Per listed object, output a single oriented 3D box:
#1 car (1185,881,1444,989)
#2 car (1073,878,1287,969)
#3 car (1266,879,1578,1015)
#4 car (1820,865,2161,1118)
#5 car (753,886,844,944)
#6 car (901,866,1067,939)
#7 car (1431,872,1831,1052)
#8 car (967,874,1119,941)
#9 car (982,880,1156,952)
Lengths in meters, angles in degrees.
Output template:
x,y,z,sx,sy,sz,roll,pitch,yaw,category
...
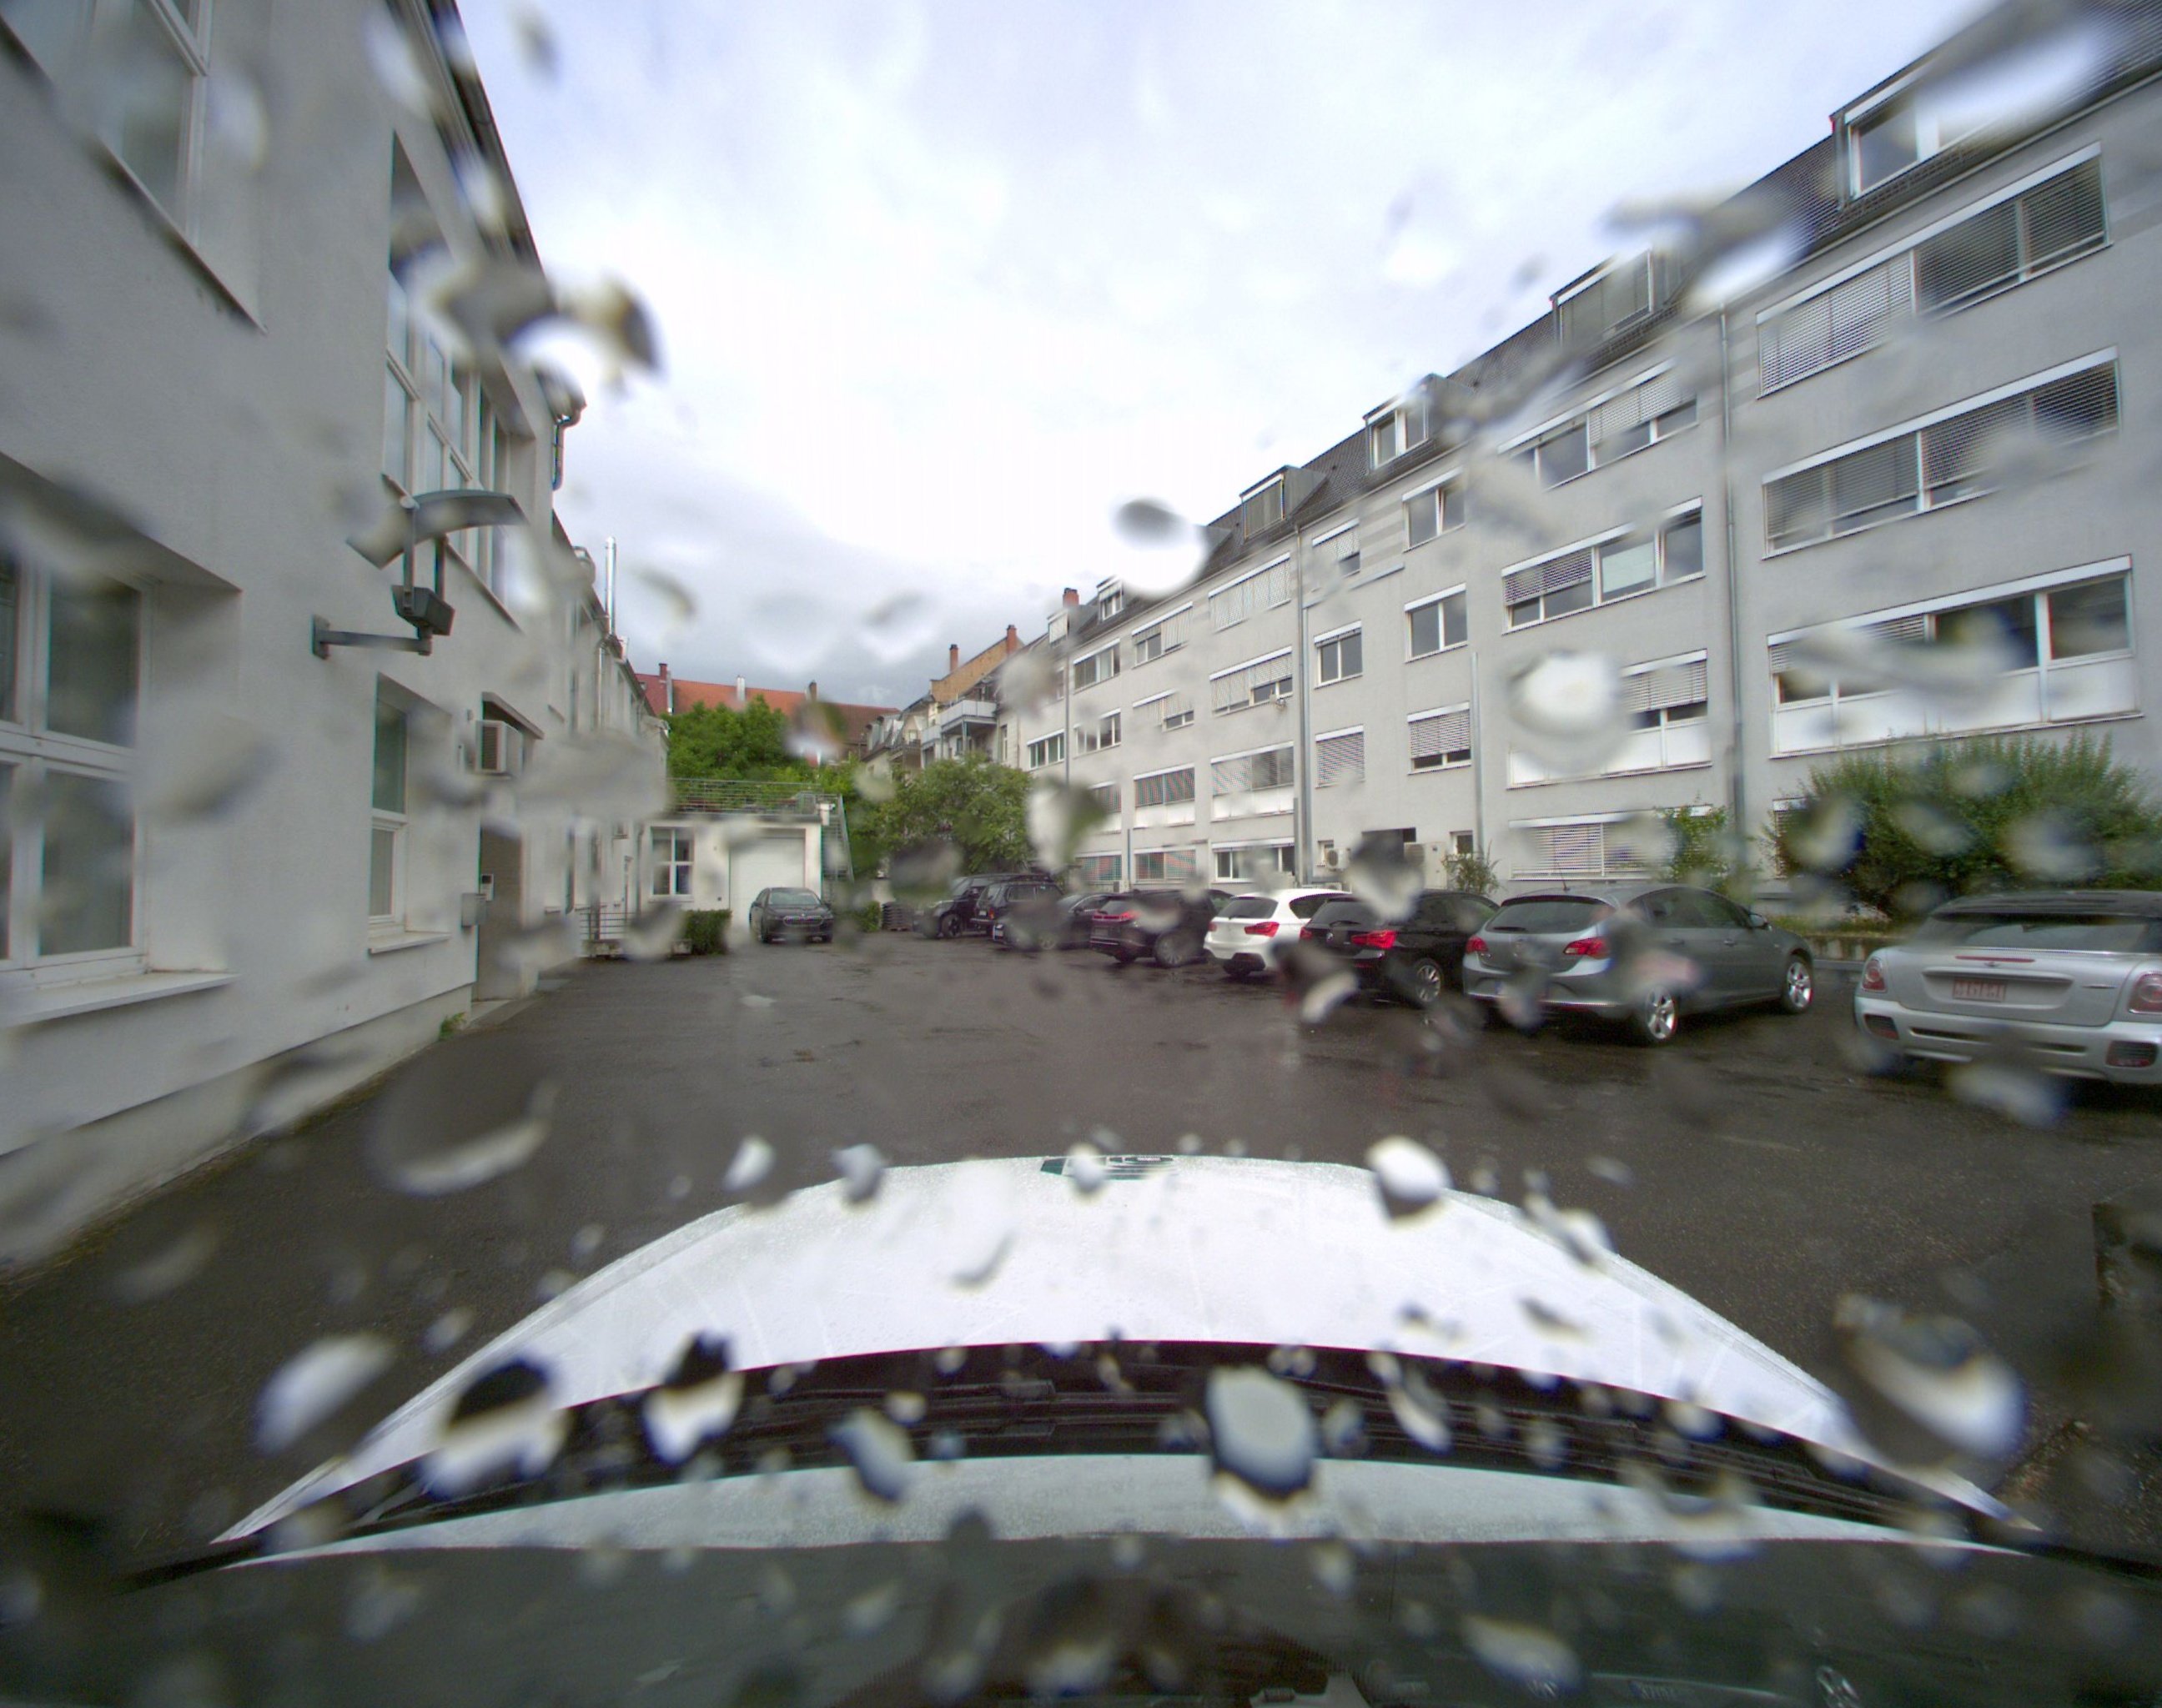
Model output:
x,y,z,sx,sy,sz,roll,pitch,yaw,category
3.875,1.228,13.406,4.011,1.458,1.756,0,-2,-29,car
2.007,1.298,16.244,3.934,1.514,1.801,-1,-2,-31,car
4.660,1.115,11.050,4.011,1.403,1.757,-1,-1,-29,car
7.638,0.852,6.281,3.433,1.427,1.673,-1,-2,-26,car
-7.982,1.626,22.815,1.989,1.444,3.966,1,-2,-25,car
-3.001,1.445,25.466,4.669,2.003,2.201,-1,-1,-34,car
5.911,0.980,8.718,4.009,1.446,1.790,-1,-2,-27,car
-1.092,1.481,23.338,3.928,1.687,1.802,-1,-2,-25,car
-0.281,1.477,20.124,3.932,1.514,1.735,-1,-2,-29,car
